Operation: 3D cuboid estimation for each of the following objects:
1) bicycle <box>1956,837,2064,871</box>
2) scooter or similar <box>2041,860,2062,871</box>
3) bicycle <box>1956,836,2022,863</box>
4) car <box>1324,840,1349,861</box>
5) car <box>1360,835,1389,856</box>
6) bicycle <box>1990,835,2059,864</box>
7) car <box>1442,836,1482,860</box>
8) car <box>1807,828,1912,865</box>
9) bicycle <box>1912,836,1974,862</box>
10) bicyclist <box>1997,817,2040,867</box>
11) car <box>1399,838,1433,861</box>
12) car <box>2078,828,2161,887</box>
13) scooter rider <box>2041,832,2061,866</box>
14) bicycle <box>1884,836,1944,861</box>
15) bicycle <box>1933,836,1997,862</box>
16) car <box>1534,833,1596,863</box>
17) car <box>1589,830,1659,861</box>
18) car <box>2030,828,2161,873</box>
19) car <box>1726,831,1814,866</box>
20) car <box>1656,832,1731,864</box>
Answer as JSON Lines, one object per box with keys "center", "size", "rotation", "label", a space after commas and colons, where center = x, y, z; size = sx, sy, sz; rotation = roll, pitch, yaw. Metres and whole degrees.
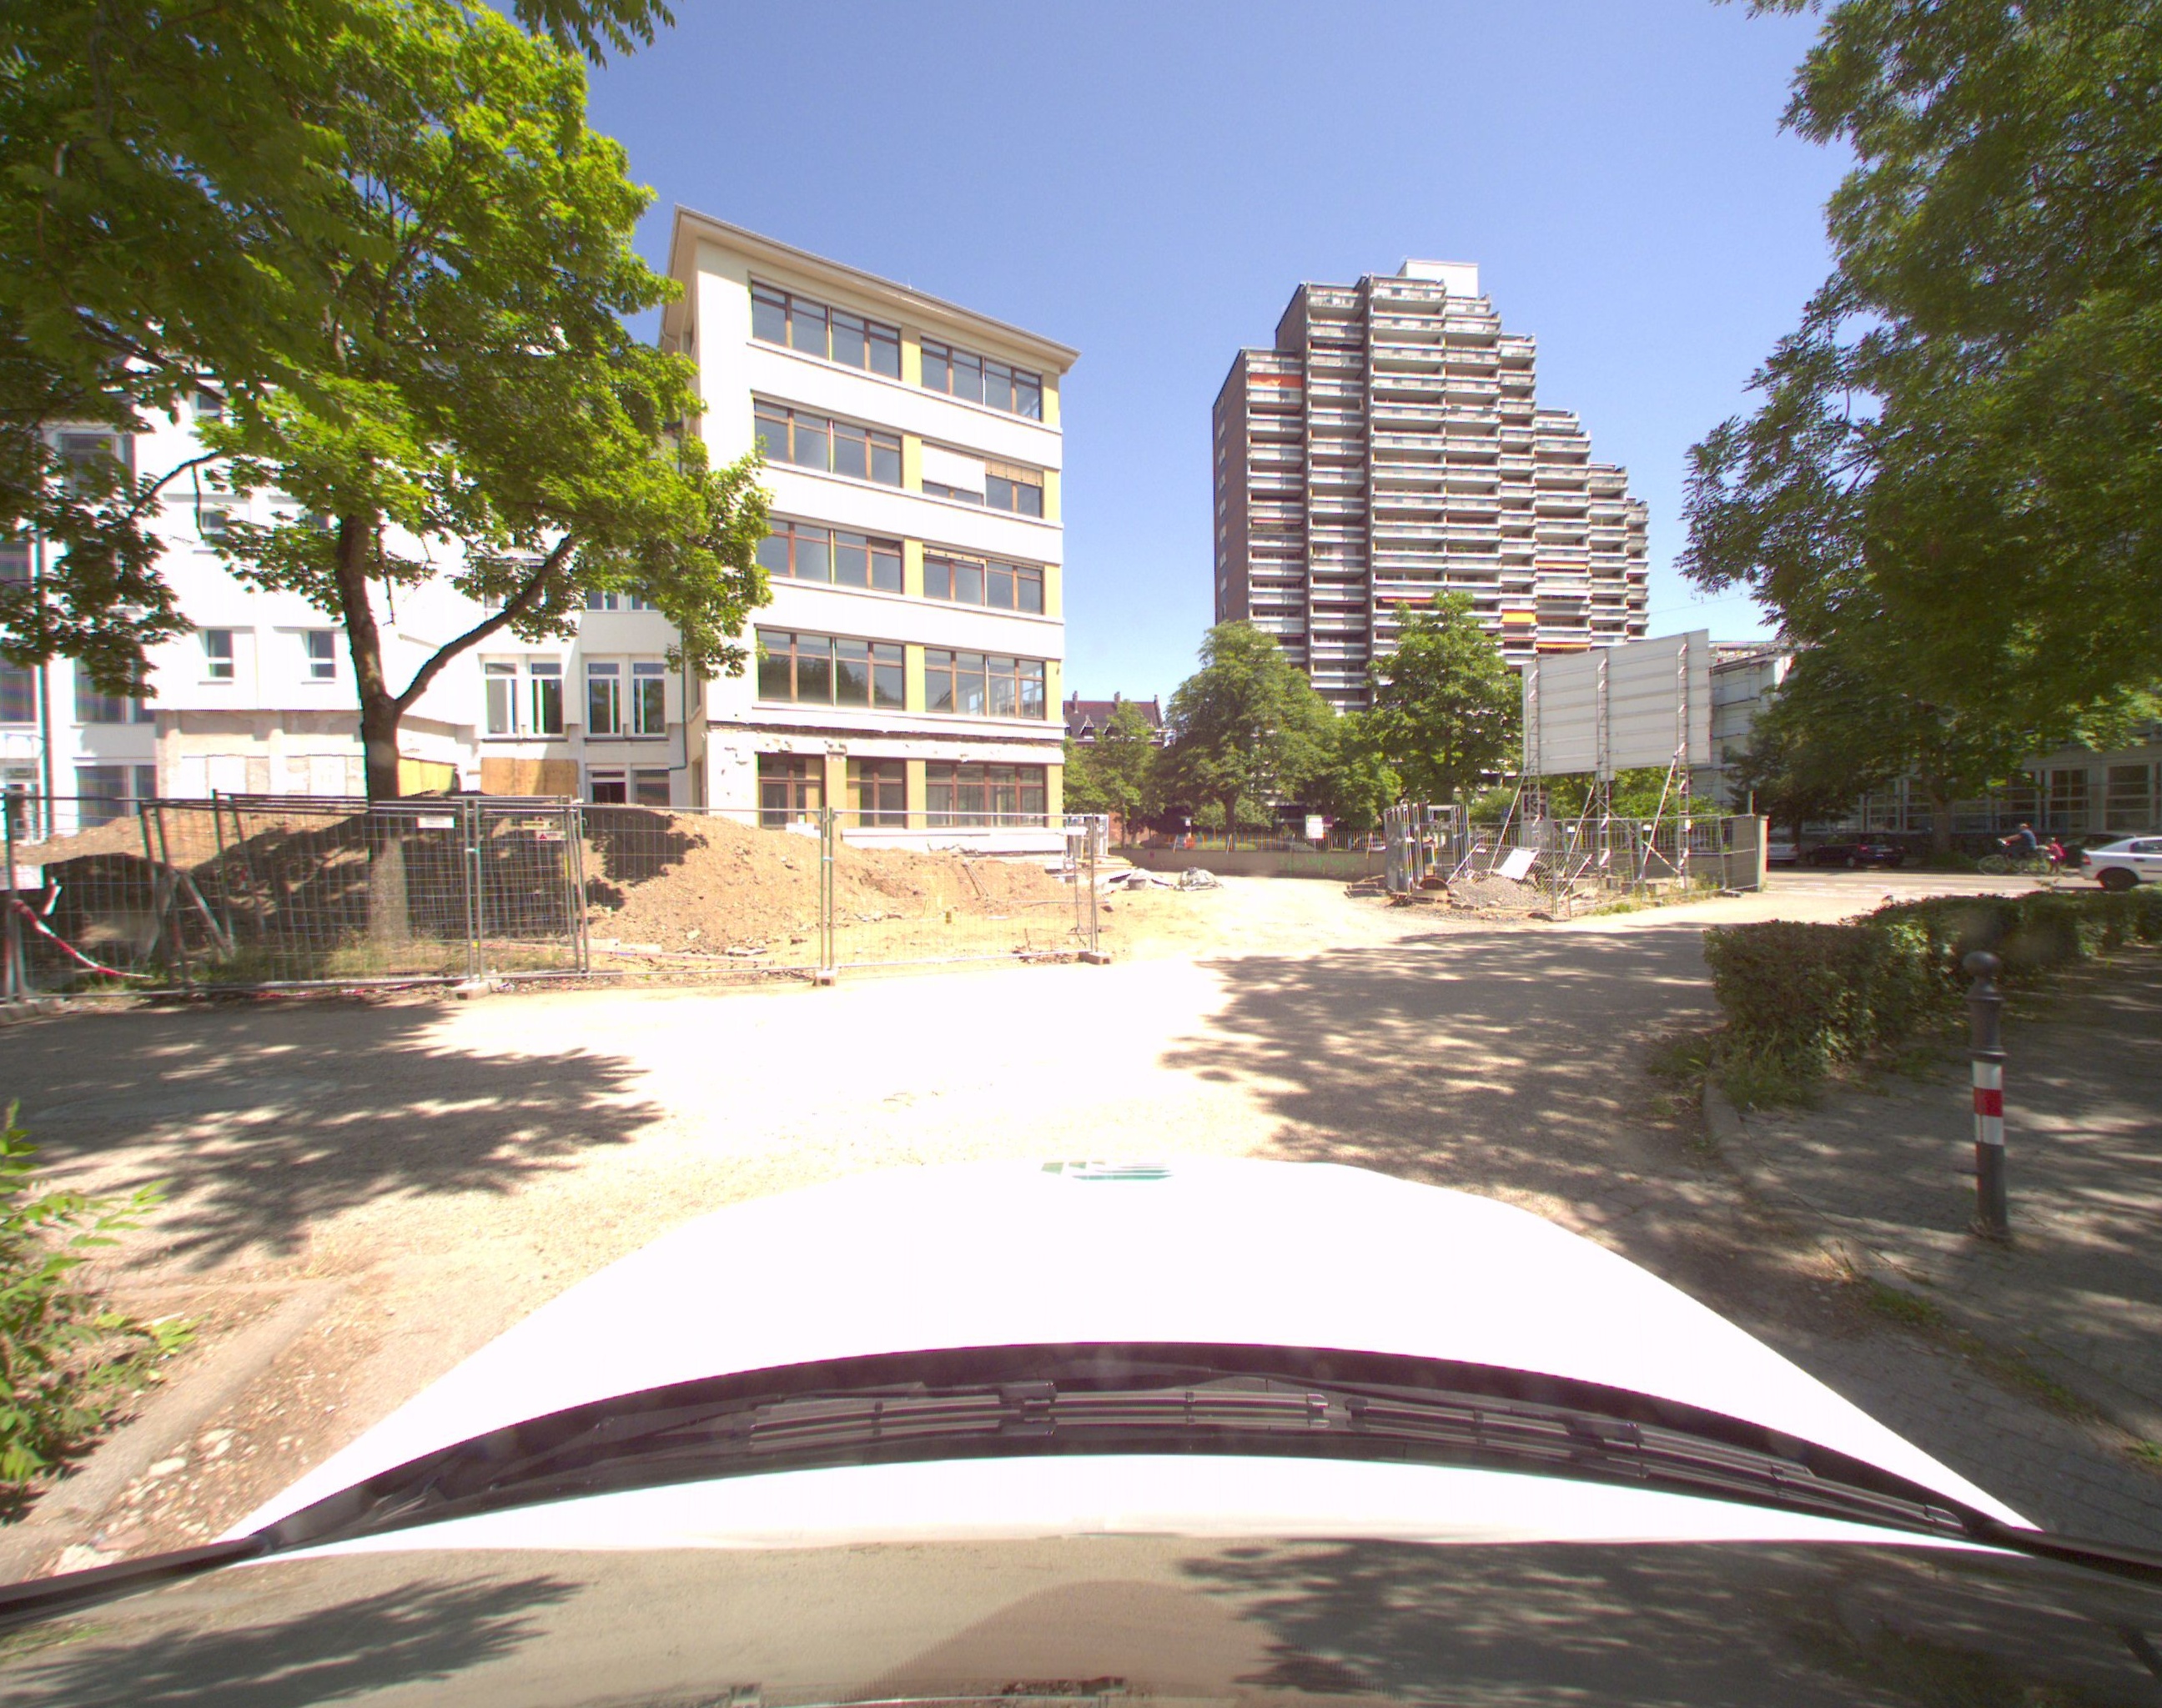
{"center": [32.429, -0.007, 28.468], "size": [0.789, 1.152, 2.413], "rotation": [-2, 1, -36], "label": "bicycle"}
{"center": [32.455, 0.397, 27.233], "size": [0.367, 0.359, 0.441], "rotation": [-1, 0, -36], "label": "scooter or similar"}
{"center": [40.247, -0.203, 36.110], "size": [2.376, 1.157, 0.781], "rotation": [-1, 0, -9], "label": "bicycle"}
{"center": [17.770, -0.243, 56.722], "size": [1.620, 1.387, 3.694], "rotation": [-1, 1, 16], "label": "car"}
{"center": [19.811, -0.577, 55.151], "size": [1.620, 1.387, 3.694], "rotation": [-1, 1, 16], "label": "car"}
{"center": [40.427, -0.212, 34.905], "size": [2.423, 1.188, 0.781], "rotation": [-1, 0, -9], "label": "bicycle"}
{"center": [22.992, -0.385, 49.209], "size": [1.620, 1.387, 3.694], "rotation": [-1, 1, 16], "label": "car"}
{"center": [32.599, -0.311, 34.218], "size": [1.621, 1.463, 3.693], "rotation": [-1, 1, 15], "label": "car"}
{"center": [40.093, -0.251, 37.881], "size": [2.376, 1.157, 0.781], "rotation": [-1, 0, -9], "label": "bicycle"}
{"center": [32.544, -0.414, 28.279], "size": [0.862, 1.665, 0.891], "rotation": [-1, 0, -36], "label": "bicyclist"}
{"center": [21.452, -0.283, 52.211], "size": [1.620, 1.387, 3.694], "rotation": [-1, 1, 16], "label": "car"}
{"center": [28.176, 0.081, 20.249], "size": [1.771, 1.464, 4.103], "rotation": [-2, 1, -31], "label": "car"}
{"center": [32.446, -0.171, 27.240], "size": [0.360, 1.134, 0.413], "rotation": [-1, 0, -36], "label": "scooter rider"}
{"center": [39.893, -0.256, 38.996], "size": [2.376, 1.157, 0.781], "rotation": [-1, 0, -9], "label": "bicycle"}
{"center": [40.209, -0.226, 37.033], "size": [2.376, 1.157, 0.781], "rotation": [-1, 0, -9], "label": "bicycle"}
{"center": [24.841, -0.317, 41.922], "size": [1.623, 1.463, 3.689], "rotation": [-1, 1, 11], "label": "car"}
{"center": [27.201, -0.438, 40.954], "size": [1.623, 1.463, 3.689], "rotation": [-1, 1, 11], "label": "car"}
{"center": [36.235, -0.144, 28.749], "size": [1.629, 1.463, 3.689], "rotation": [-1, 1, 10], "label": "car"}
{"center": [31.032, -0.270, 36.795], "size": [1.621, 1.463, 3.693], "rotation": [-1, 1, 15], "label": "car"}
{"center": [29.235, -0.293, 39.003], "size": [1.621, 1.463, 3.693], "rotation": [-1, 1, 15], "label": "car"}
